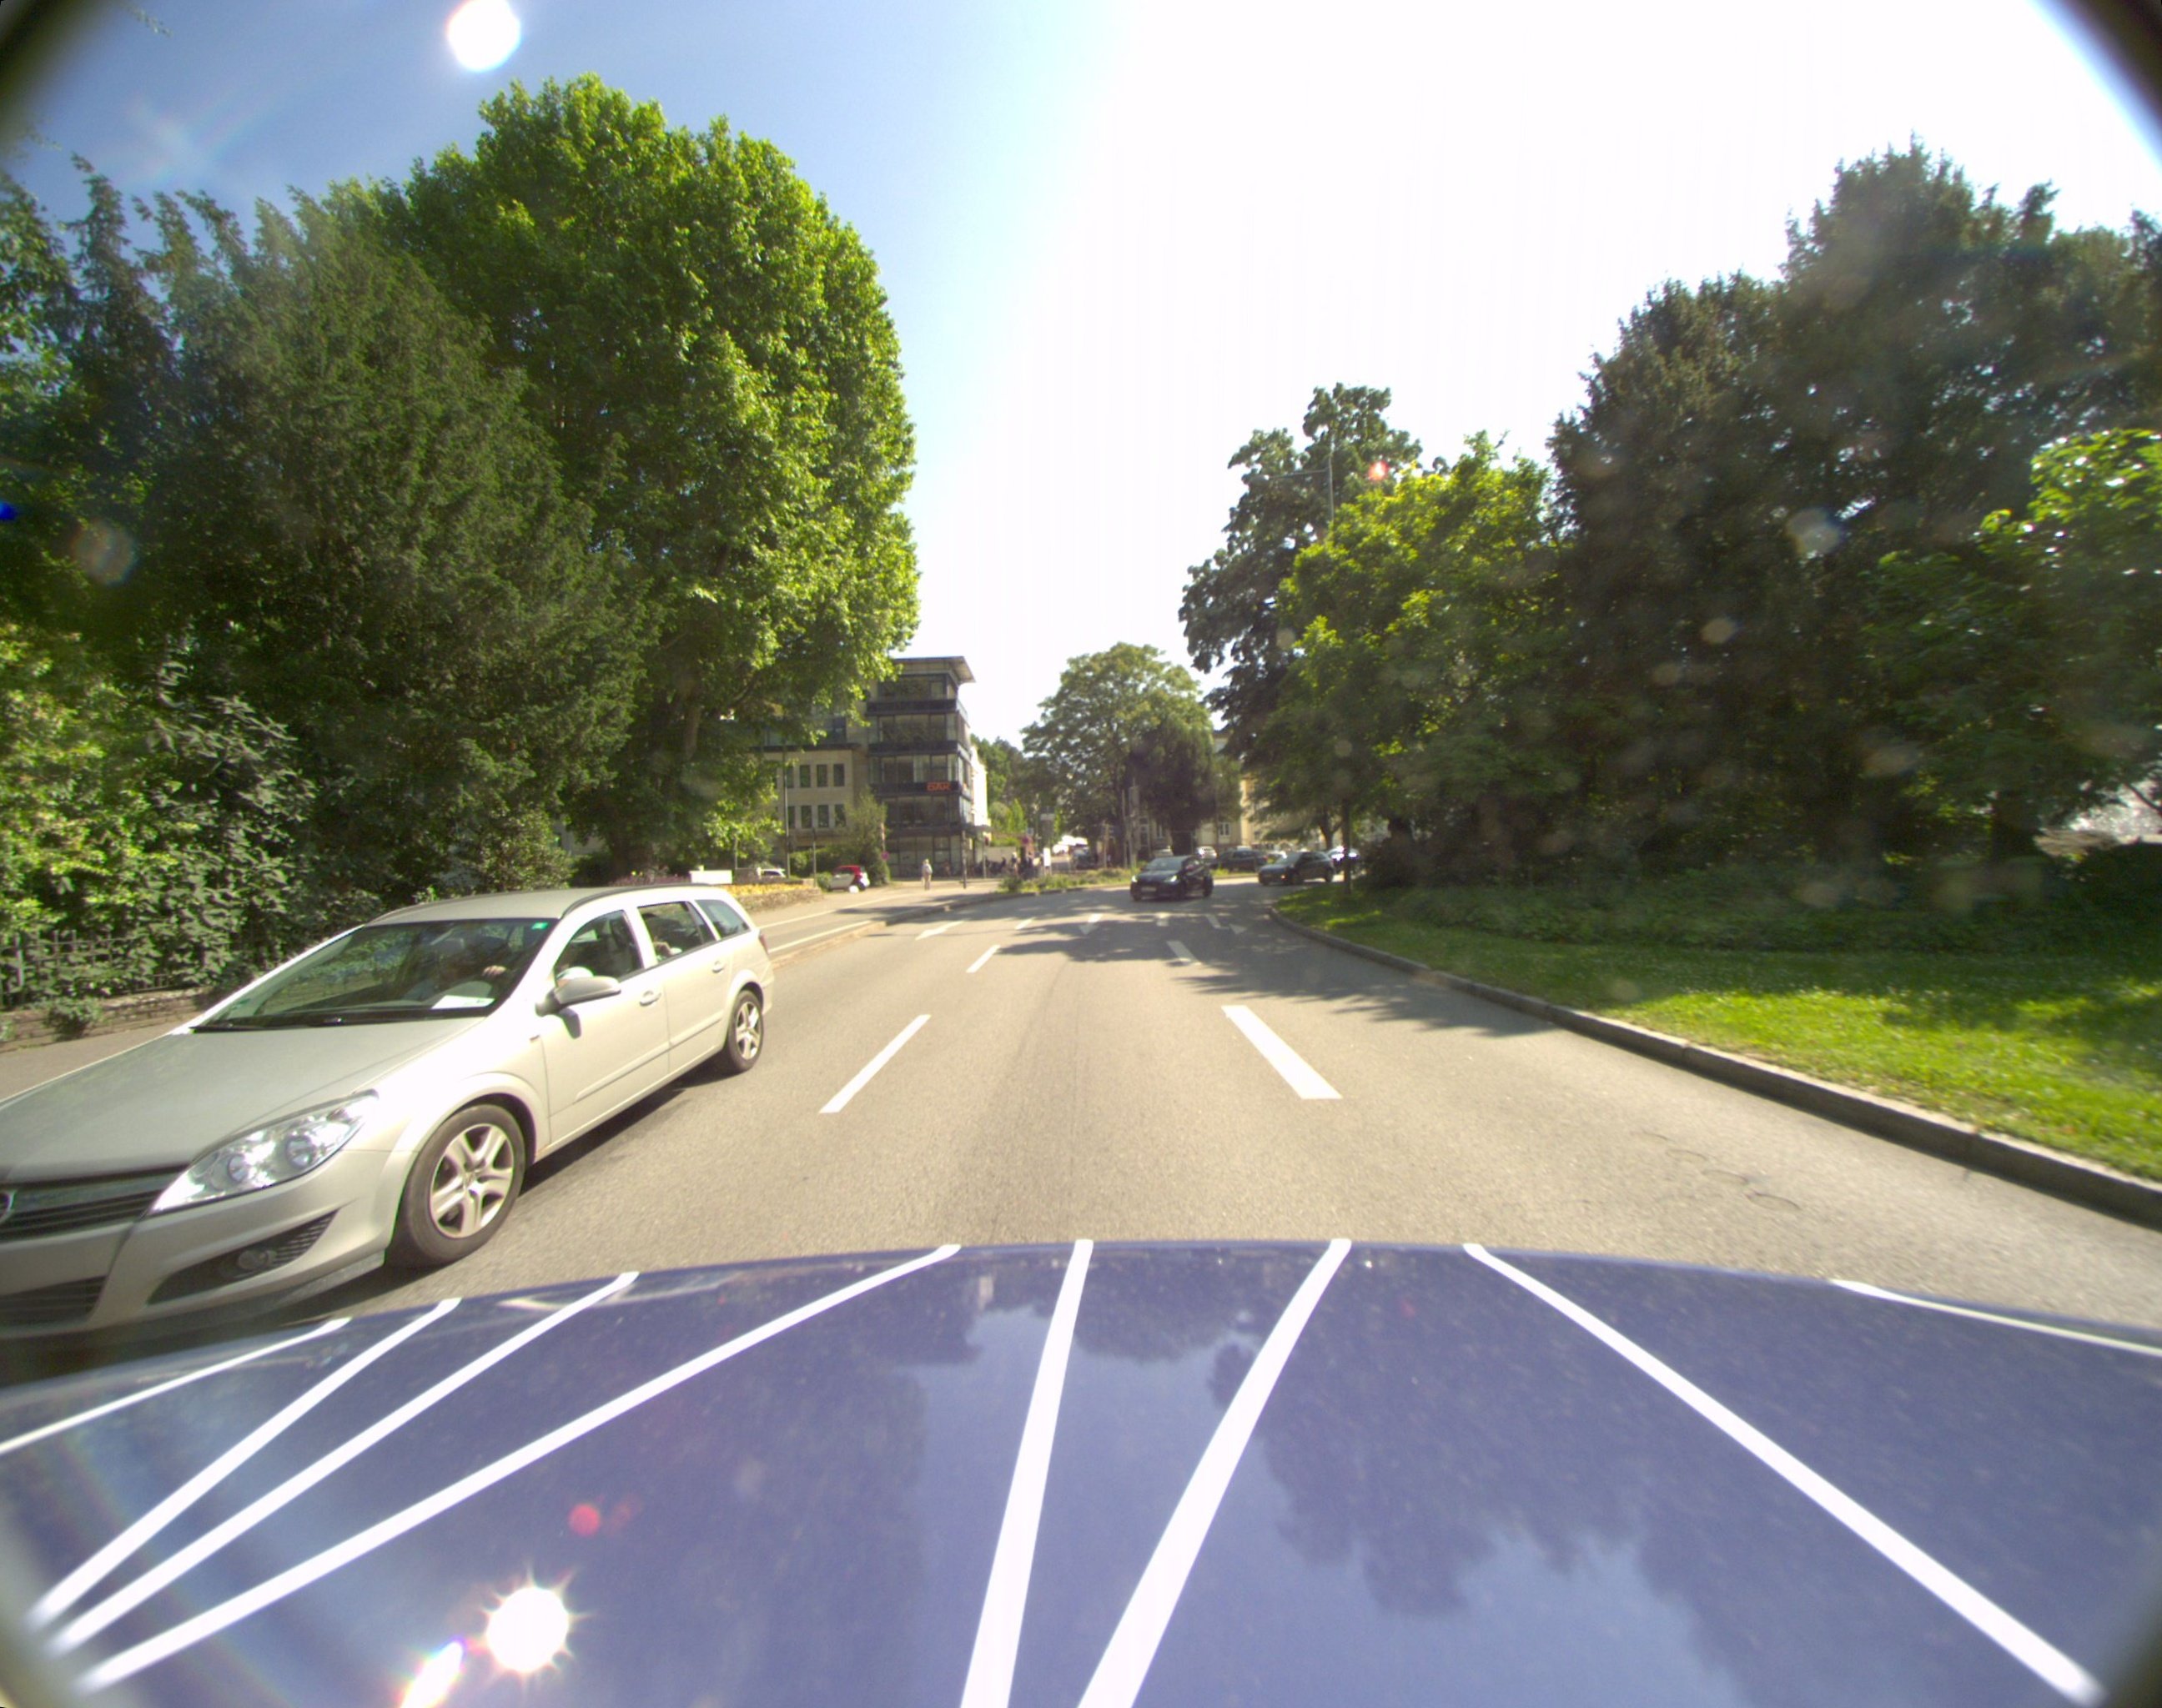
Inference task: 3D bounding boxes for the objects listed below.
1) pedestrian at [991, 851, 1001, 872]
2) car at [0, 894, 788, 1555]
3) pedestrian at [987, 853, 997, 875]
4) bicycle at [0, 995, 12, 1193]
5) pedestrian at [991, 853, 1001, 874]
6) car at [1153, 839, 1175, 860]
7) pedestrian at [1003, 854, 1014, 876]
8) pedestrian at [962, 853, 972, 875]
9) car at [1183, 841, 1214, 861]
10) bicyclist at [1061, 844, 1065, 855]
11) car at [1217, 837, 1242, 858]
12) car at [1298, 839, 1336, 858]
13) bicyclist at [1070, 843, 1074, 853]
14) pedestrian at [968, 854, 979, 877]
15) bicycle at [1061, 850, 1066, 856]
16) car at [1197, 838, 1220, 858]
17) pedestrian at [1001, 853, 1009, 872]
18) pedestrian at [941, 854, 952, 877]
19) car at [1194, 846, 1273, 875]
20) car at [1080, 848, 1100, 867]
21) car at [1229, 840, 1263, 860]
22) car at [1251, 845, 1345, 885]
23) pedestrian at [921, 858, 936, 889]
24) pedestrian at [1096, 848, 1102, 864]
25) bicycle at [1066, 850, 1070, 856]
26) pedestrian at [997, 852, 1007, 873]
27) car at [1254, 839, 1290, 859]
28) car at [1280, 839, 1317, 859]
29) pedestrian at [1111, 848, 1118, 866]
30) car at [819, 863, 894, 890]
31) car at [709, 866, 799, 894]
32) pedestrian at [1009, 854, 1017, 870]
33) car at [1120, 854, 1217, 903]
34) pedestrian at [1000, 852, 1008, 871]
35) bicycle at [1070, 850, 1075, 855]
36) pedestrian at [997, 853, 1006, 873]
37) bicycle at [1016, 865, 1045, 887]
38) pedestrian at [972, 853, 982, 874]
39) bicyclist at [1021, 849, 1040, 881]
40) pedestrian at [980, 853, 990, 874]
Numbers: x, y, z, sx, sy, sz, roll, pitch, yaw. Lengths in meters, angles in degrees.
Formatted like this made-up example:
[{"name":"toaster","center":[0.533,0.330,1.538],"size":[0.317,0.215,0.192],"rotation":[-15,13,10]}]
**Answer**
[{"name":"pedestrian","center":[-6.952,0.629,62.320],"size":[0.602,1.695,0.604],"rotation":[-3,1,4]},{"name":"car","center":[-3.365,1.107,4.174],"size":[1.712,1.513,4.407],"rotation":[-2,0,0]},{"name":"pedestrian","center":[-6.916,0.753,59.219],"size":[0.604,1.695,0.690],"rotation":[-3,1,1]},{"name":"bicycle","center":[-5.946,1.222,2.944],"size":[0.759,1.114,2.001],"rotation":[-1,1,-2]},{"name":"pedestrian","center":[-6.864,0.740,61.510],"size":[0.602,1.695,0.604],"rotation":[-3,1,4]},{"name":"car","center":[8.388,-0.489,76.941],"size":[1.850,2.002,4.000],"rotation":[-2,0,2]},{"name":"pedestrian","center":[-5.574,0.826,58.375],"size":[0.701,1.695,0.603],"rotation":[-2,1,6]},{"name":"pedestrian","center":[-9.169,0.796,61.137],"size":[0.602,1.695,0.604],"rotation":[-3,1,4]},{"name":"car","center":[10.334,-0.257,66.977],"size":[1.851,1.652,3.998],"rotation":[-2,0,-4]},{"name":"bicyclist","center":[-3.480,-0.893,148.399],"size":[0.573,2.002,0.907],"rotation":[-2,1,6]},{"name":"car","center":[15.274,-0.665,78.334],"size":[1.850,2.002,4.000],"rotation":[-2,0,2]},{"name":"car","center":[21.166,-0.482,68.311],"size":[1.851,1.569,3.998],"rotation":[-2,0,-4]},{"name":"bicyclist","center":[-1.801,-1.246,153.817],"size":[0.573,2.002,0.908],"rotation":[-2,1,12]},{"name":"pedestrian","center":[-8.176,0.893,57.880],"size":[0.653,1.695,0.646],"rotation":[-3,1,2]},{"name":"bicycle","center":[-3.406,-0.220,148.367],"size":[0.566,1.154,1.900],"rotation":[-2,0,6]},{"name":"car","center":[13.150,-0.617,78.510],"size":[1.850,2.002,4.000],"rotation":[-2,0,2]},{"name":"pedestrian","center":[-6.893,0.744,68.638],"size":[0.602,1.695,0.604],"rotation":[-3,1,-1]},{"name":"pedestrian","center":[-10.231,0.870,57.915],"size":[0.690,1.695,0.602],"rotation":[-3,1,-4]},{"name":"car","center":[9.355,0.378,46.773],"size":[4.418,1.545,1.684],"rotation":[-3,0,-7]},{"name":"car","center":[0.893,0.343,75.930],"size":[1.851,1.777,3.999],"rotation":[2,1,-2]},{"name":"car","center":[14.445,-0.351,66.768],"size":[1.851,1.652,3.998],"rotation":[-2,0,-4]},{"name":"car","center":[9.939,0.455,34.714],"size":[4.149,1.674,1.886],"rotation":[-1,1,-33]},{"name":"pedestrian","center":[-8.365,1.065,41.706],"size":[0.711,1.663,0.534],"rotation":[-2,1,-4]},{"name":"pedestrian","center":[1.928,0.245,82.335],"size":[0.602,1.695,0.604],"rotation":[-3,1,-1]},{"name":"bicycle","center":[-2.431,-0.141,138.751],"size":[0.566,1.154,1.899],"rotation":[-2,0,4]},{"name":"pedestrian","center":[-6.538,0.717,62.878],"size":[0.602,1.695,0.604],"rotation":[-3,1,4]},{"name":"car","center":[16.857,-0.411,67.185],"size":[1.851,1.652,3.998],"rotation":[-2,0,-4]},{"name":"car","center":[19.219,-0.469,67.441],"size":[1.851,1.652,3.998],"rotation":[-2,0,-4]},{"name":"pedestrian","center":[3.172,0.325,72.482],"size":[0.602,1.695,0.604],"rotation":[-3,1,-1]},{"name":"car","center":[-13.081,1.315,44.489],"size":[3.953,1.443,1.811],"rotation":[-1,0,-7]},{"name":"car","center":[-19.994,1.552,46.613],"size":[4.687,1.443,1.811],"rotation":[-3,0,-7]},{"name":"pedestrian","center":[-6.822,0.798,76.460],"size":[0.602,1.587,0.604],"rotation":[-2,1,6]},{"name":"car","center":[3.074,0.802,25.924],"size":[1.807,1.443,3.961],"rotation":[-2,0,30]},{"name":"pedestrian","center":[-7.220,0.703,71.123],"size":[0.602,1.695,0.604],"rotation":[-2,1,-1]},{"name":"bicycle","center":[-1.775,-0.317,153.696],"size":[0.566,1.154,1.901],"rotation":[-2,0,14]},{"name":"pedestrian","center":[-6.793,0.781,65.091],"size":[0.602,1.695,0.730],"rotation":[-3,1,4]},{"name":"bicycle","center":[-2.614,1.153,39.605],"size":[0.710,1.048,2.210],"rotation":[-2,0,16]},{"name":"pedestrian","center":[-8.421,0.774,61.426],"size":[0.602,1.695,0.604],"rotation":[-3,1,4]},{"name":"bicyclist","center":[-2.622,0.568,39.637],"size":[0.710,1.603,0.733],"rotation":[-2,1,16]},{"name":"pedestrian","center":[-7.787,0.745,61.400],"size":[0.602,1.695,0.604],"rotation":[-3,1,4]}]
